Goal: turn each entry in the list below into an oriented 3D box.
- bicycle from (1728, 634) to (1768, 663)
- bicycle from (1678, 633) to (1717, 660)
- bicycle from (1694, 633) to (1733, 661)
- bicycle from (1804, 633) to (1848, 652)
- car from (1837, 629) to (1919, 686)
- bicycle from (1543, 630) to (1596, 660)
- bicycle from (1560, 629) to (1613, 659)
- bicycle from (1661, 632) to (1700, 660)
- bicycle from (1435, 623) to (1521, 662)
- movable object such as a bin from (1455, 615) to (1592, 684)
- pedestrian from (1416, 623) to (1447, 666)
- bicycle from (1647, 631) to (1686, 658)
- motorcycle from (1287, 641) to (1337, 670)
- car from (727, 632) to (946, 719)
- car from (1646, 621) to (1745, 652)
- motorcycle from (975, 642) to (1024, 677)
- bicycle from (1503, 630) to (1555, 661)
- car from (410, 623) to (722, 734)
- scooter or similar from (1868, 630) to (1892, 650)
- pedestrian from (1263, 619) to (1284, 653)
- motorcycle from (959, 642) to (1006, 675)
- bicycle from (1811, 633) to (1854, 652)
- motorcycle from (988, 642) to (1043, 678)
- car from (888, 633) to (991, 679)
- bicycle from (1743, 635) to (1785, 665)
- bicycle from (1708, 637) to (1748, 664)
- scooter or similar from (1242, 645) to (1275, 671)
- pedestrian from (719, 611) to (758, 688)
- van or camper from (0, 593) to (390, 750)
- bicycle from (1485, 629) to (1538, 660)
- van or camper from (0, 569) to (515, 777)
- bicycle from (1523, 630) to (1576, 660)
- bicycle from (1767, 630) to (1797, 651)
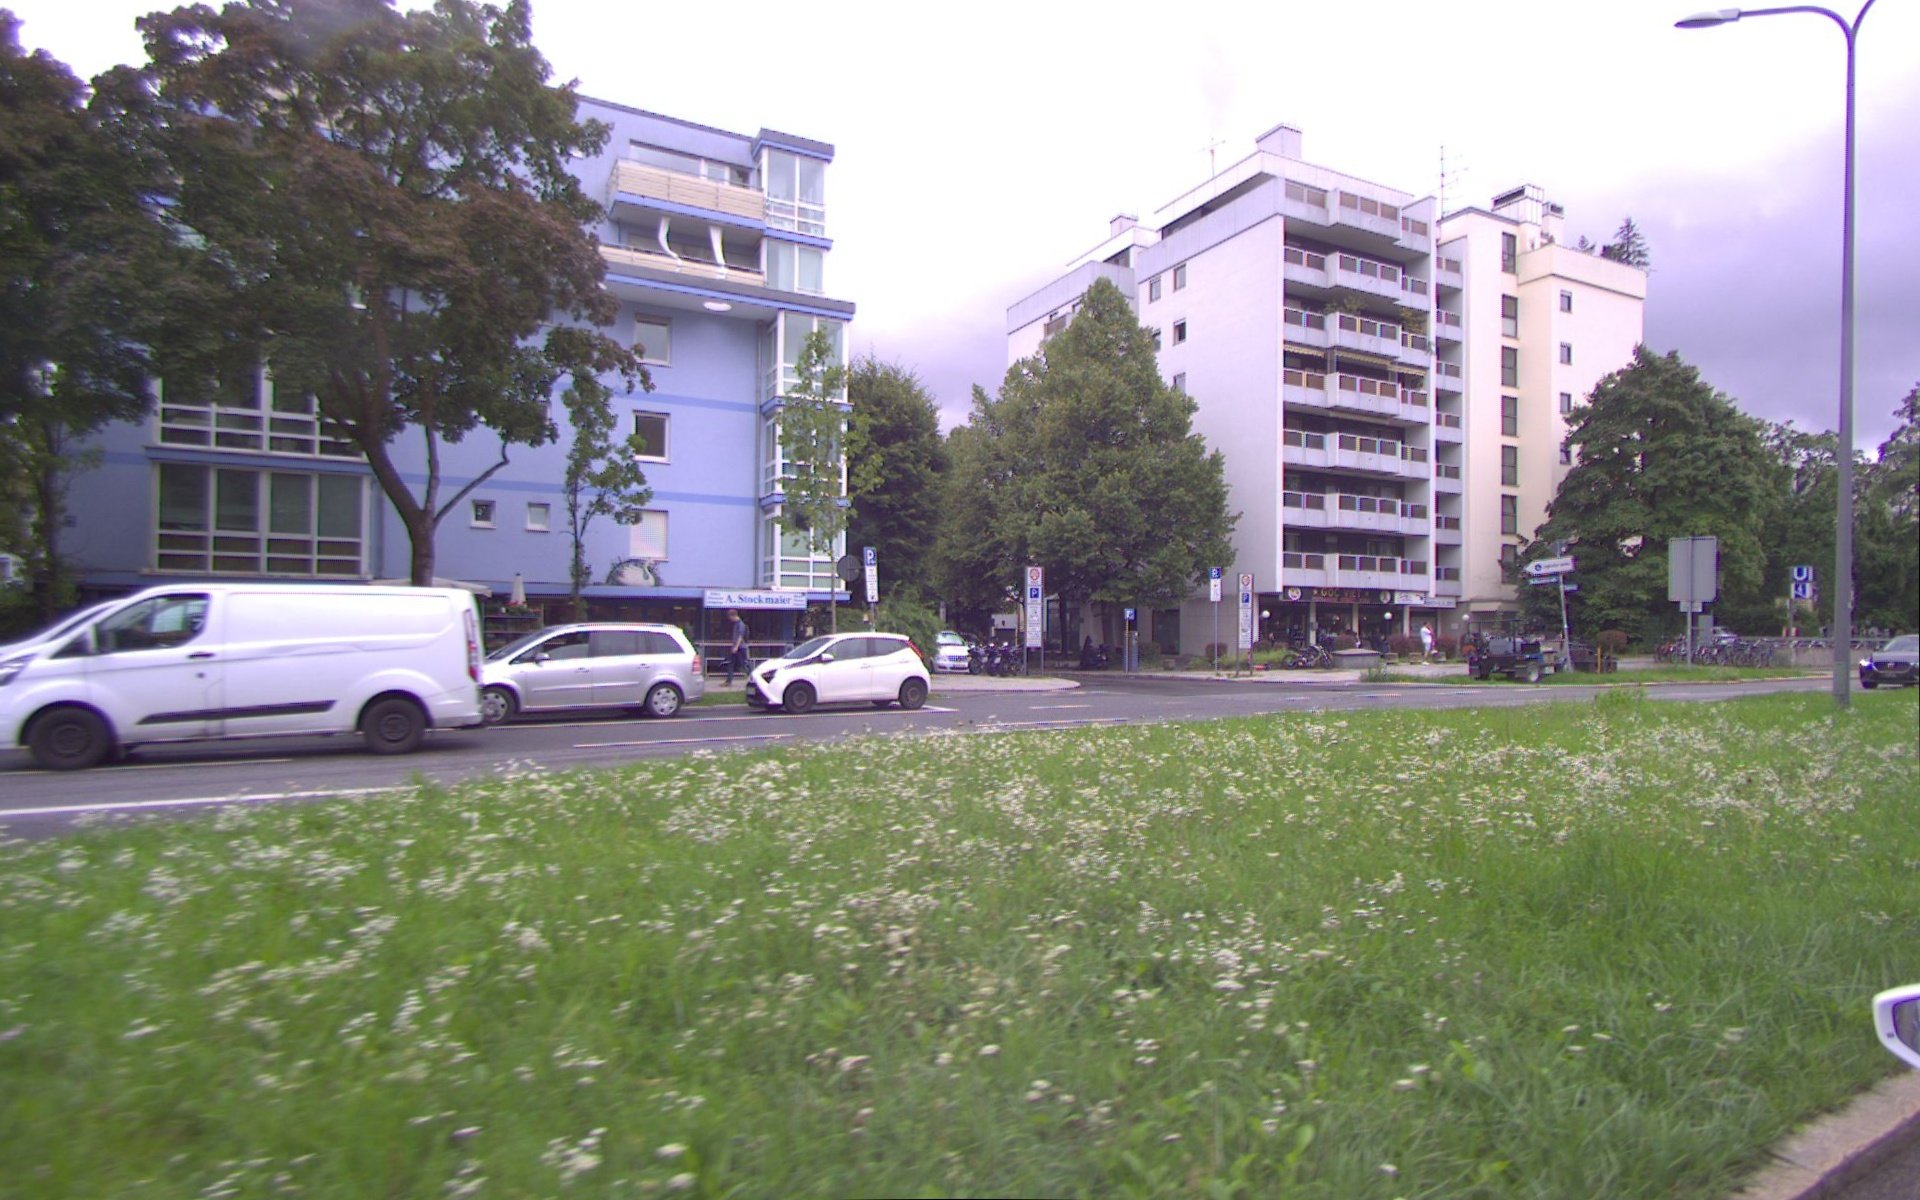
[{"bbox_3d":[31.141,1.910,39.686,1.928,1.092,0.406,1,3,-27],"label":"bicycle"},{"bbox_3d":[30.307,1.900,41.284,1.928,1.044,0.406,1,3,-27],"label":"bicycle"},{"bbox_3d":[30.587,1.898,40.772,1.928,1.087,0.406,1,3,-27],"label":"bicycle"},{"bbox_3d":[47.151,2.300,54.690,0.431,1.020,1.755,1,-2,-28],"label":"bicycle"},{"bbox_3d":[26.722,1.561,28.085,4.205,1.499,1.950,1,-2,-28],"label":"car"},{"bbox_3d":[26.094,1.924,43.030,0.552,1.118,1.942,1,3,-24],"label":"bicycle"},{"bbox_3d":[27.110,1.904,43.487,0.482,1.118,1.942,1,3,-24],"label":"bicycle"},{"bbox_3d":[29.933,1.893,41.740,1.928,1.119,0.406,1,3,-27],"label":"bicycle"},{"bbox_3d":[21.307,1.712,41.424,0.777,1.300,3.317,1,3,-24],"label":"bicycle"},{"bbox_3d":[17.418,1.496,31.042,3.959,1.979,2.179,1,-2,-34],"label":"movable object such as a bin"},{"bbox_3d":[19.217,1.795,40.969,1.119,1.731,0.664,1,-2,-34],"label":"pedestrian"},{"bbox_3d":[29.691,1.861,42.194,1.928,1.112,0.406,1,3,-27],"label":"bicycle"},{"bbox_3d":[13.312,2.102,38.001,1.749,1.101,0.419,0,-1,-3],"label":"motorcycle"},{"bbox_3d":[-2.332,1.374,19.229,3.857,1.509,1.639,1,-2,-31],"label":"car"},{"bbox_3d":[39.757,1.978,54.390,1.726,1.610,3.974,1,-2,-26],"label":"car"},{"bbox_3d":[1.396,2.049,34.819,0.490,1.147,2.471,-1,-2,34],"label":"motorcycle"},{"bbox_3d":[23.727,1.893,41.934,0.482,1.118,1.942,1,3,-24],"label":"bicycle"},{"bbox_3d":[-6.509,1.226,16.870,4.621,1.637,1.687,1,-2,-37],"label":"car"},{"bbox_3d":[53.517,2.342,58.451,1.268,1.141,0.435,0,-1,-16],"label":"scooter or similar"},{"bbox_3d":[14.839,1.685,47.512,0.660,1.606,0.654,1,-1,-30],"label":"pedestrian"},{"bbox_3d":[0.848,2.083,36.259,0.490,1.147,2.472,-1,-2,33],"label":"motorcycle"},{"bbox_3d":[48.324,2.333,55.634,0.431,1.020,1.755,1,-2,-28],"label":"bicycle"},{"bbox_3d":[1.885,2.005,33.718,0.491,1.147,2.467,-1,-2,39],"label":"motorcycle"},{"bbox_3d":[-0.901,2.178,40.013,1.976,1.704,5.079,1,-2,-29],"label":"car"},{"bbox_3d":[31.421,1.939,39.243,2.057,1.104,0.406,1,3,-26],"label":"bicycle"},{"bbox_3d":[30.791,2.015,40.263,1.928,1.054,0.406,1,3,-27],"label":"bicycle"},{"bbox_3d":[11.473,2.218,38.558,1.134,0.971,0.441,-1,-2,40],"label":"scooter or similar"},{"bbox_3d":[-5.386,1.192,24.386,0.770,1.829,0.639,1,-2,-30],"label":"pedestrian"},{"bbox_3d":[-11.190,0.965,14.423,5.147,1.993,1.797,1,-2,-29],"label":"van or camper"},{"bbox_3d":[22.759,1.828,41.504,0.552,1.118,1.942,1,3,-24],"label":"bicycle"},{"bbox_3d":[-8.097,0.777,11.772,5.135,2.042,2.007,1,-2,-29],"label":"van or camper"},{"bbox_3d":[24.909,1.884,42.468,0.482,1.118,1.942,1,3,-24],"label":"bicycle"},{"bbox_3d":[45.770,2.239,55.912,2.006,1.113,0.576,1,-2,-28],"label":"bicycle"}]
